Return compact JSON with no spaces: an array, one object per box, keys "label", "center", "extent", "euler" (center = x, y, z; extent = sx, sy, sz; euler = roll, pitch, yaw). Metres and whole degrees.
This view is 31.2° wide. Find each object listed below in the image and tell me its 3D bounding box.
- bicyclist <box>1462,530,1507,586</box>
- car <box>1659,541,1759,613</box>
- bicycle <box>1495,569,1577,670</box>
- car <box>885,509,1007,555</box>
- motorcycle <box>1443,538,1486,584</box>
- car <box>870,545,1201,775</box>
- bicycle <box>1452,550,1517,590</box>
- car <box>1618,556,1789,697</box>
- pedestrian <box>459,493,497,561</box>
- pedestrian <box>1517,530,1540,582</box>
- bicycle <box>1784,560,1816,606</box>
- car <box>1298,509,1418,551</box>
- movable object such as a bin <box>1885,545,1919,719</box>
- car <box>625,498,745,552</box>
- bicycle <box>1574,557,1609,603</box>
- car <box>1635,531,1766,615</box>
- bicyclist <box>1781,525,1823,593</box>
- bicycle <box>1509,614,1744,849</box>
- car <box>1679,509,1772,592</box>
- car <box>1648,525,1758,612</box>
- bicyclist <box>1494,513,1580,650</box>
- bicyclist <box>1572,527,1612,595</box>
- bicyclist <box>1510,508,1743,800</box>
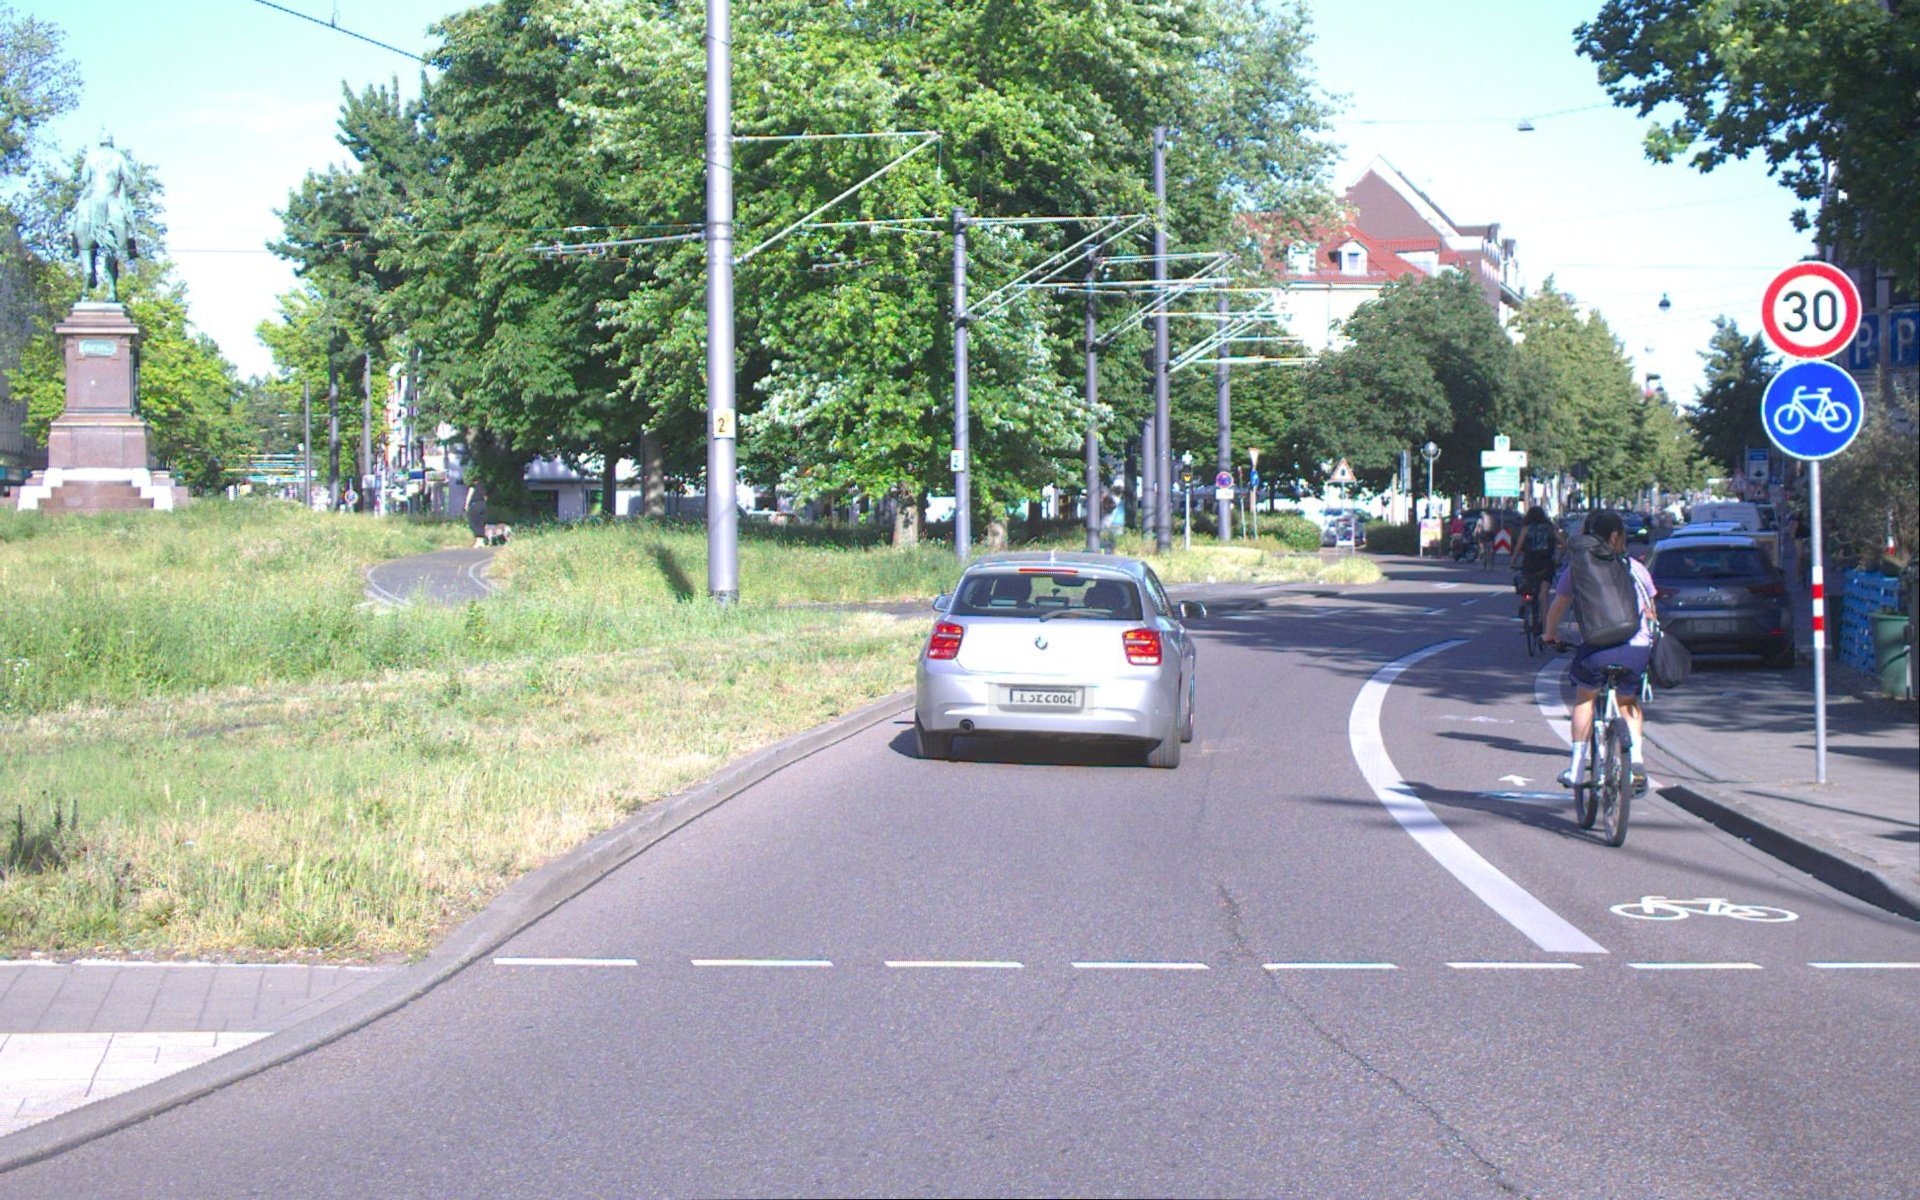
[{"label":"bicyclist","center":[14.400,-1.162,94.371],"extent":[0.928,1.502,0.826],"euler":[2,0,-13]},{"label":"car","center":[16.120,-0.469,73.856],"extent":[1.775,1.449,4.727],"euler":[2,0,16]},{"label":"bicycle","center":[7.057,0.228,42.174],"extent":[0.820,1.181,1.964],"euler":[2,0,6]},{"label":"car","center":[-0.698,-3.275,166.405],"extent":[5.574,2.007,1.818],"euler":[2,0,-13]},{"label":"motorcycle","center":[15.418,-1.198,105.189],"extent":[0.745,1.369,1.761],"euler":[2,0,-10]},{"label":"car","center":[0.626,0.376,24.231],"extent":[1.994,1.418,4.196],"euler":[2,0,5]},{"label":"bicycle","center":[14.391,-0.824,94.409],"extent":[0.809,1.065,2.584],"euler":[2,0,-13]},{"label":"car","center":[8.324,0.257,38.678],"extent":[1.766,1.433,4.581],"euler":[0,1,11]},{"label":"pedestrian","center":[-11.461,-1.736,81.770],"extent":[0.673,1.610,0.555],"euler":[2,0,-38]},{"label":"pedestrian","center":[18.481,-1.435,111.727],"extent":[0.636,1.666,0.692],"euler":[2,0,14]},{"label":"bicycle","center":[16.792,-0.337,68.707],"extent":[0.534,0.888,2.068],"euler":[2,0,15]},{"label":"car","center":[19.155,-3.359,165.343],"extent":[5.262,1.793,2.164],"euler":[2,0,-13]},{"label":"movable object such as a bin","center":[8.208,0.272,27.749],"extent":[1.281,1.386,0.921],"euler":[2,0,8]},{"label":"car","center":[-12.732,-3.462,159.183],"extent":[5.335,2.306,2.001],"euler":[2,0,-9]},{"label":"bicycle","center":[13.800,-0.424,75.067],"extent":[0.653,0.955,2.696],"euler":[2,0,12]},{"label":"car","center":[12.746,-0.444,59.007],"extent":[1.853,1.339,4.596],"euler":[2,0,16]},{"label":"bicyclist","center":[16.832,-0.813,68.722],"extent":[0.758,1.322,0.993],"euler":[2,0,15]},{"label":"bicycle","center":[3.526,0.667,18.389],"extent":[0.885,1.132,2.228],"euler":[2,0,3]},{"label":"car","center":[17.872,-1.128,80.183],"extent":[1.995,1.806,4.307],"euler":[2,0,13]},{"label":"car","center":[13.794,-0.566,63.686],"extent":[1.672,1.513,4.196],"euler":[2,0,16]},{"label":"bicyclist","center":[7.068,-0.230,42.138],"extent":[0.939,1.628,0.935],"euler":[2,0,6]},{"label":"bicyclist","center":[13.797,-0.854,75.017],"extent":[0.786,1.448,1.095],"euler":[2,0,12]},{"label":"bicyclist","center":[3.529,0.277,18.299],"extent":[1.038,1.479,0.988],"euler":[2,0,3]}]
